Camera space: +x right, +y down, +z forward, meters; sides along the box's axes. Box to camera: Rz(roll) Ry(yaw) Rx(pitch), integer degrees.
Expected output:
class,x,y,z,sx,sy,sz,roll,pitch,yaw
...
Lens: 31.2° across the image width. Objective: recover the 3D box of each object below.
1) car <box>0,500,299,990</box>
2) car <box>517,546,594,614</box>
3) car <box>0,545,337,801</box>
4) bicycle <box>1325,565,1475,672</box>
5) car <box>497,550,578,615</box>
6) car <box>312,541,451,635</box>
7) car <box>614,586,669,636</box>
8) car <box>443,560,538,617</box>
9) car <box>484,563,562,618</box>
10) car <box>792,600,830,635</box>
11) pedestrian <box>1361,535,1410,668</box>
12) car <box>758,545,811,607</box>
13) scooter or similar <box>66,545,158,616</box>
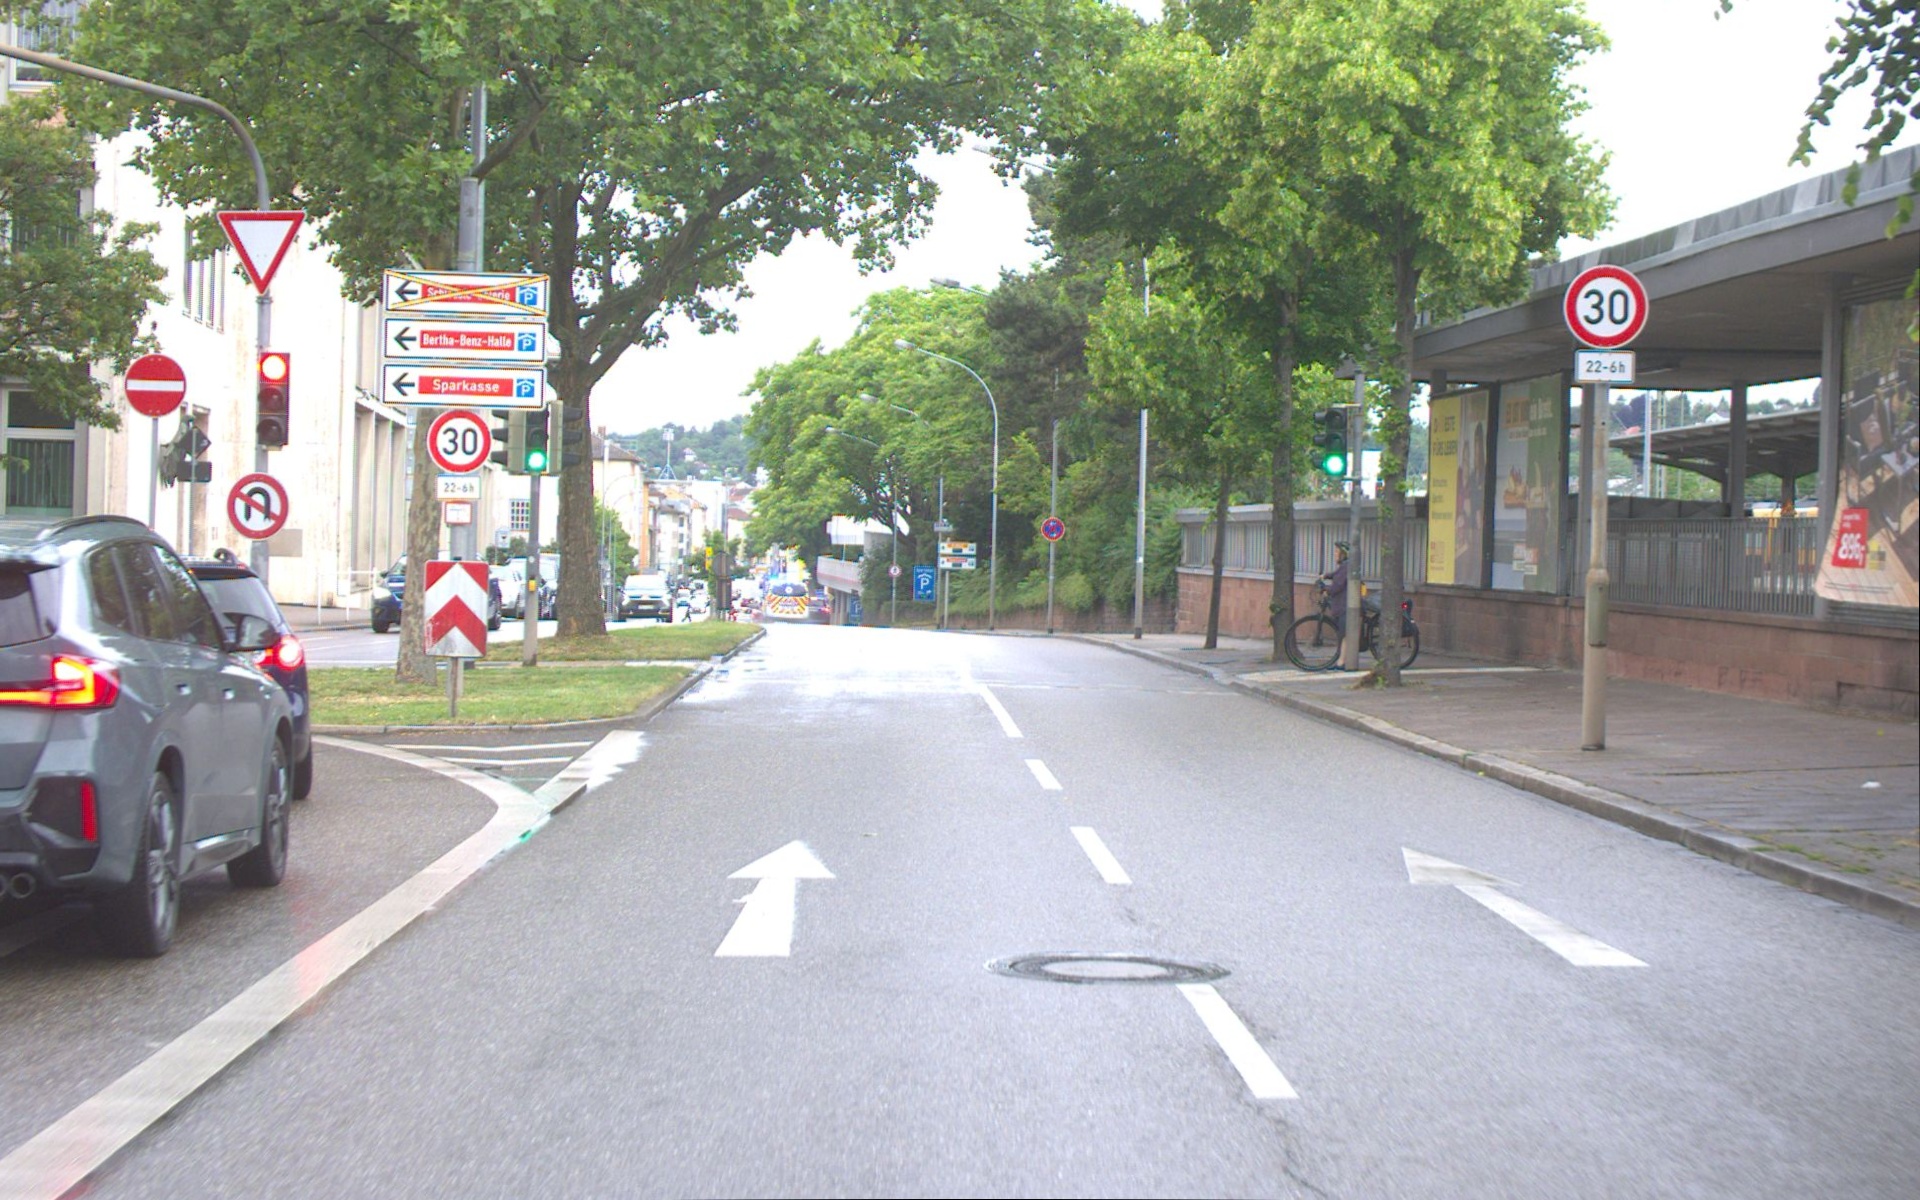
class,x,y,z,sx,sy,sz,roll,pitch,yaw
car,-3.900,0.450,13.602,1.964,1.634,4.359,0,1,-3
car,-12.113,-0.585,103.107,1.948,1.937,4.996,2,0,-3
car,-5.053,0.367,21.194,1.815,1.404,4.415,0,1,-18
bicycle,5.286,0.210,41.311,1.723,1.244,0.485,1,1,30
car,-11.611,-0.474,94.797,1.797,1.670,4.604,2,0,-2
car,-10.167,-0.208,60.700,1.841,1.503,4.103,3,0,-2
car,-10.915,0.366,118.068,1.821,1.655,4.338,0,0,-5
car,-11.395,-0.289,83.662,1.691,1.293,4.093,2,0,0
car,-11.348,-0.251,89.444,1.542,1.349,4.110,2,0,-1
car,-8.492,0.987,195.843,2.091,1.904,4.100,0,1,-4
pedestrian,5.071,0.012,40.929,0.457,1.563,0.392,1,1,30
car,-7.674,-1.070,150.108,2.264,2.647,4.001,1,1,-3
scooter or similar,-14.427,-0.338,58.500,0.608,1.188,1.525,1,1,32
